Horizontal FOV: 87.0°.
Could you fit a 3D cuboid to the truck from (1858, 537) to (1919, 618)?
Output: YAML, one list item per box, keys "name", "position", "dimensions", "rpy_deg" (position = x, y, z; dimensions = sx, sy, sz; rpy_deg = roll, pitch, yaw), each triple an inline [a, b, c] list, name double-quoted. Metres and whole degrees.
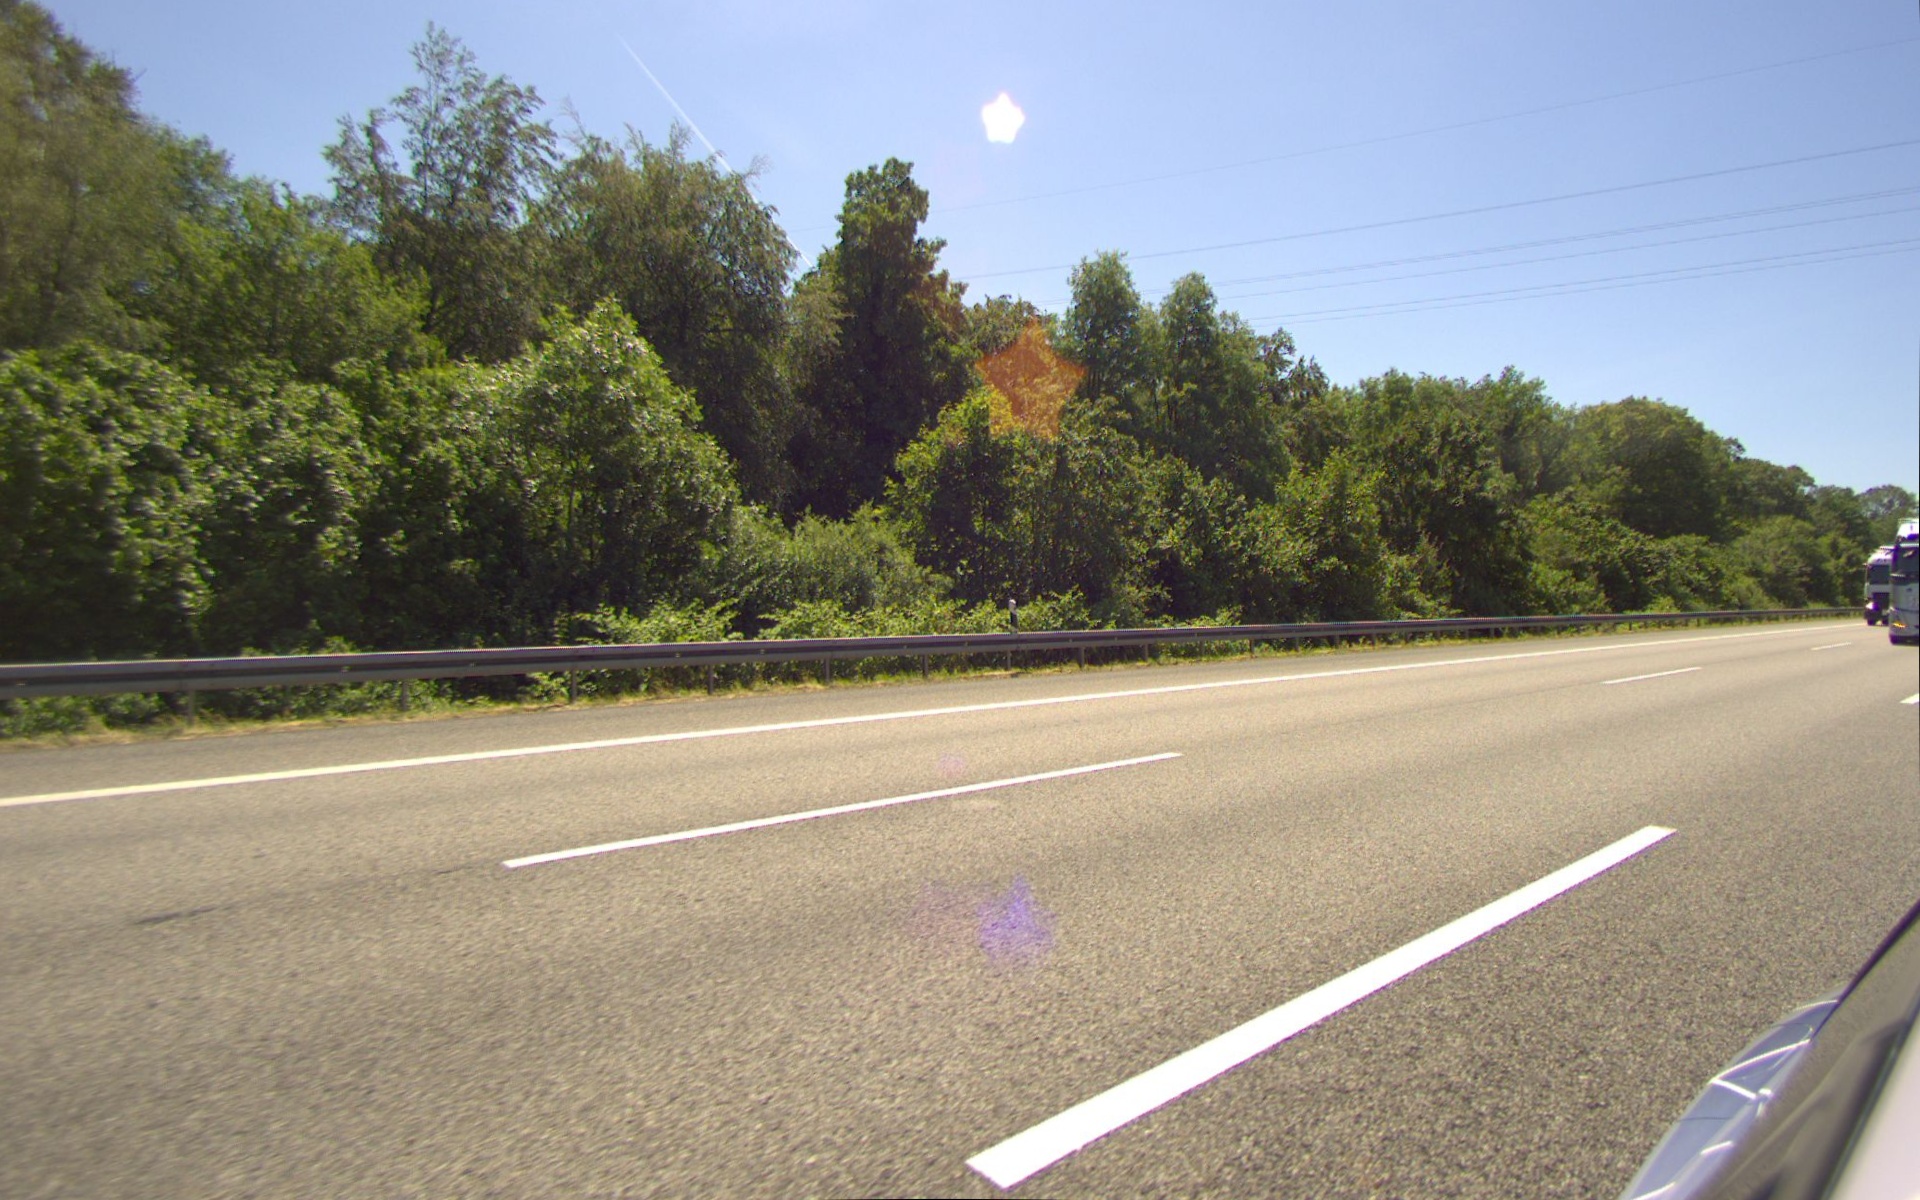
- name: "truck"
  position: [52.515, -1.225, 55.337]
  dimensions: [14.198, 4.020, 3.048]
  rpy_deg: [-1, 1, -40]

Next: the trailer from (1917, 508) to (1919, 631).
- name: "trailer"
  position: [37.235, -1.013, 36.410]
  dimensions: [13.414, 4.025, 2.745]
  rpy_deg: [0, 0, -41]

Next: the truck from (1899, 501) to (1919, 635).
- name: "truck"
  position: [31.961, -0.981, 31.877]
  dimensions: [6.386, 4.025, 2.728]
  rpy_deg: [0, 0, -40]
